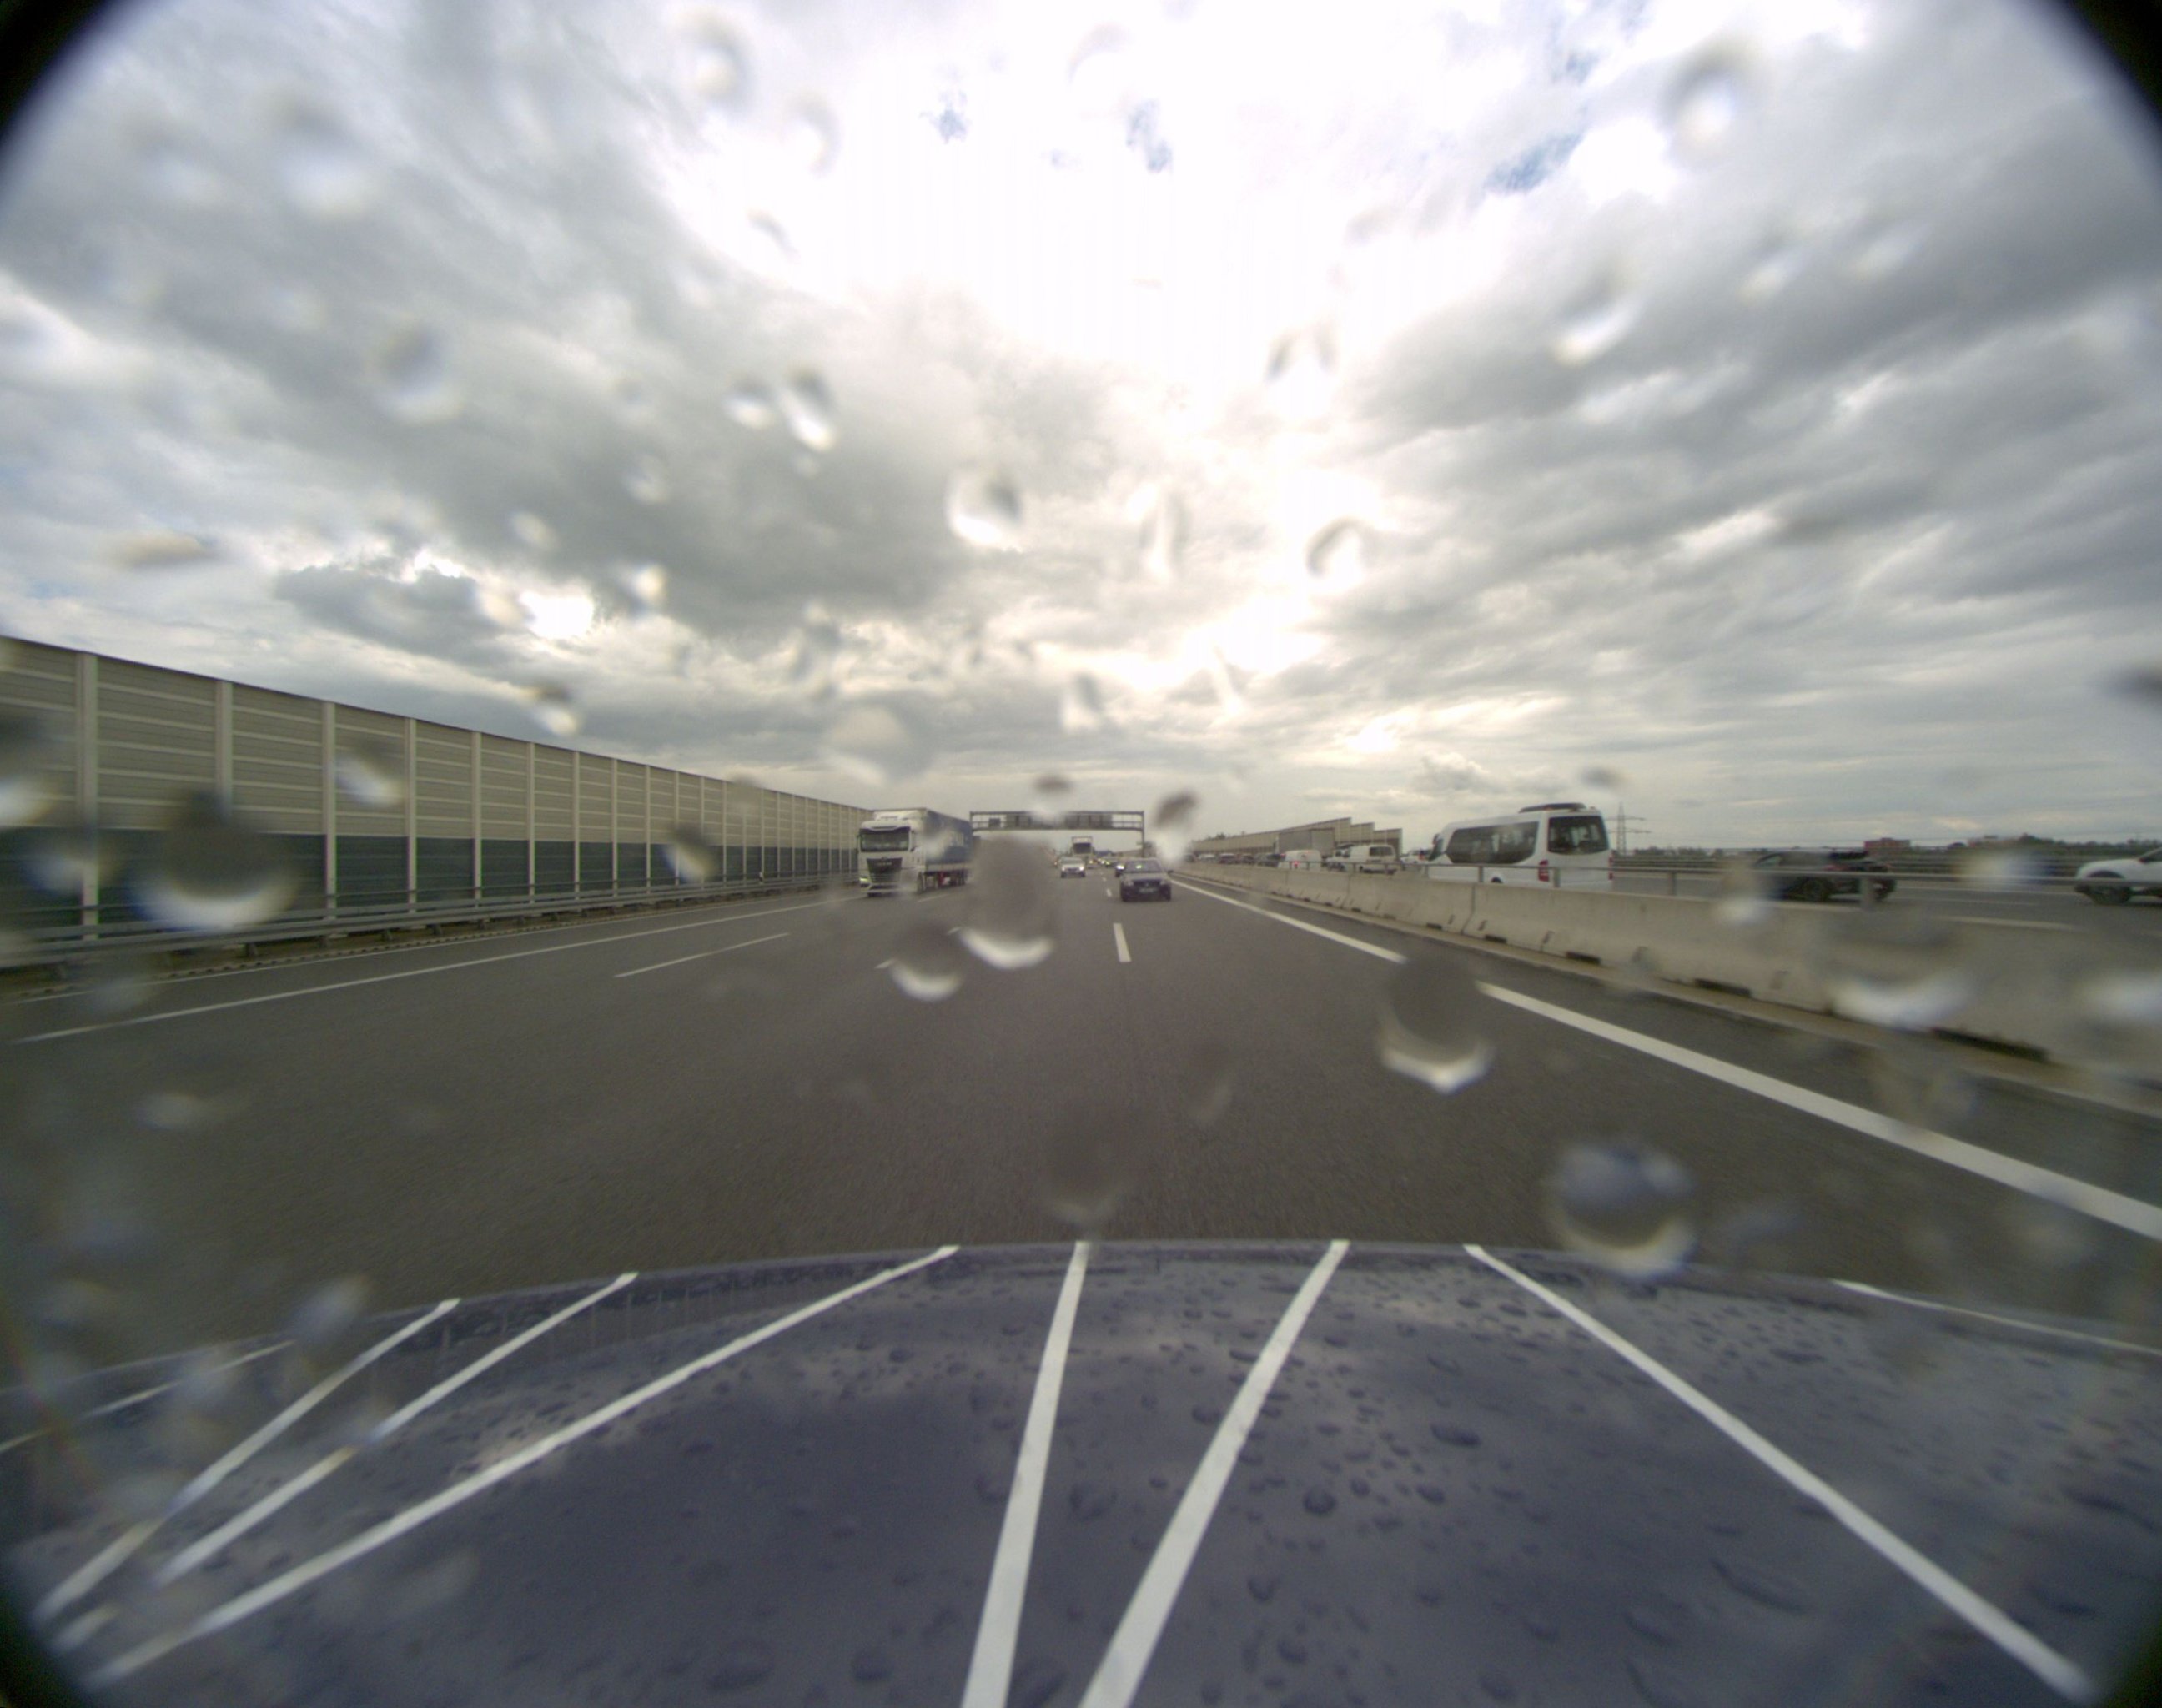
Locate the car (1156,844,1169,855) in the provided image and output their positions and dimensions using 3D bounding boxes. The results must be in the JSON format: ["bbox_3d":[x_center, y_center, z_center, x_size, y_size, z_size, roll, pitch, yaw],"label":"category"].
[{"bbox_3d":[18.838,-1.034,175.656,2.389,2.535,7.087,-1,0,1],"label":"car"}]

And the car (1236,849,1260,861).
[{"bbox_3d":[22.618,0.146,103.014,2.065,1.526,5.470,-1,0,1],"label":"car"}]

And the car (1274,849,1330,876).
[{"bbox_3d":[13.772,0.485,47.684,2.065,1.526,5.470,-1,0,1],"label":"car"}]

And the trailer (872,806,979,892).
[{"bbox_3d":[-8.395,-0.217,43.438,2.768,4.008,14.454,-1,0,1],"label":"trailer"}]

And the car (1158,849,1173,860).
[{"bbox_3d":[14.854,0.145,133.960,2.065,1.869,4.997,-1,0,1],"label":"car"}]

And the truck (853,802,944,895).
[{"bbox_3d":[-8.567,-0.229,36.362,2.751,4.011,5.726,-1,0,1],"label":"truck"}]

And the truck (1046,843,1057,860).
[{"bbox_3d":[-7.553,-0.503,191.532,2.600,4.087,11.369,-1,0,-3],"label":"truck"}]

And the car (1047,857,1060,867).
[{"bbox_3d":[-3.943,1.182,110.178,1.698,1.395,4.000,-1,0,1],"label":"car"}]

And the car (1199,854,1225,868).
[{"bbox_3d":[14.751,0.752,85.758,2.065,1.526,5.470,-1,0,1],"label":"car"}]

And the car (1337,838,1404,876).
[{"bbox_3d":[17.988,0.167,47.575,2.065,2.223,5.894,-1,0,1],"label":"car"}]

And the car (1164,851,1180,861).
[{"bbox_3d":[14.507,0.366,121.173,2.065,1.525,4.997,-1,0,1],"label":"car"}]

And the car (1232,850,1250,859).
[{"bbox_3d":[27.110,0.051,128.856,2.065,1.526,5.470,-1,0,1],"label":"car"}]

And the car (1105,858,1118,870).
[{"bbox_3d":[3.901,1.239,97.408,1.498,1.395,4.000,-1,0,1],"label":"car"}]

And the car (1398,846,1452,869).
[{"bbox_3d":[25.687,0.230,56.932,2.065,1.636,4.519,-1,0,1],"label":"car"}]

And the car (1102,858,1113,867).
[{"bbox_3d":[4.158,1.347,118.847,1.498,1.395,4.000,-1,0,-1],"label":"car"}]

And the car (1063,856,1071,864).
[{"bbox_3d":[-2.765,1.161,151.046,1.498,1.395,4.000,-1,0,-1],"label":"car"}]

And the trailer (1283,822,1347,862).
[{"bbox_3d":[25.835,-1.195,84.895,2.939,4.008,14.454,-1,0,1],"label":"trailer"}]

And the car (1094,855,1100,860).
[{"bbox_3d":[4.506,0.989,209.639,1.698,1.395,4.000,-1,0,1],"label":"car"}]

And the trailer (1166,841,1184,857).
[{"bbox_3d":[25.690,-1.309,208.753,2.768,4.008,14.451,-1,0,-1],"label":"trailer"}]

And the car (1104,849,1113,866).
[{"bbox_3d":[5.276,0.643,144.879,1.645,3.041,4.589,-1,0,2],"label":"car"}]

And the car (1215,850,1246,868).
[{"bbox_3d":[14.299,0.470,73.056,2.065,1.636,5.380,-1,0,1],"label":"car"}]

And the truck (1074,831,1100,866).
[{"bbox_3d":[0.763,-0.613,95.760,2.913,4.146,5.193,-3,0,2],"label":"truck"}]

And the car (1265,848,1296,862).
[{"bbox_3d":[22.138,0.096,84.606,2.065,1.526,5.470,-1,0,1],"label":"car"}]

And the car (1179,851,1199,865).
[{"bbox_3d":[14.822,0.547,104.482,2.065,1.869,6.328,-1,0,1],"label":"car"}]

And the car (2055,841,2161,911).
[{"bbox_3d":[24.090,0.479,15.906,1.727,1.456,4.519,-2,1,3],"label":"car"}]

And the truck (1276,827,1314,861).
[{"bbox_3d":[26.013,-1.193,92.496,2.979,4.011,5.726,-1,0,1],"label":"truck"}]

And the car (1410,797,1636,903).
[{"bbox_3d":[13.621,-0.033,24.604,2.236,2.733,9.166,-1,-1,2],"label":"car"}]

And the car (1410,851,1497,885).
[{"bbox_3d":[18.027,0.640,37.015,2.065,1.526,4.519,-1,0,1],"label":"car"}]

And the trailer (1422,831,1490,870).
[{"bbox_3d":[25.549,-0.215,51.987,2.205,2.469,5.228,-1,0,2],"label":"trailer"}]

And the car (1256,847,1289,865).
[{"bbox_3d":[18.187,0.198,72.410,2.065,1.636,4.519,-1,0,1],"label":"car"}]

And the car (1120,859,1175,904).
[{"bbox_3d":[2.210,0.879,25.960,1.578,1.395,4.000,-1,0,1],"label":"car"}]

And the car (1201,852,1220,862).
[{"bbox_3d":[18.624,0.439,109.127,2.065,1.408,4.523,-1,0,1],"label":"car"}]

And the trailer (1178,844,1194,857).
[{"bbox_3d":[33.038,-1.012,238.771,2.943,4.008,13.859,-1,0,-1],"label":"trailer"}]

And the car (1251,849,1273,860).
[{"bbox_3d":[26.483,0.012,111.204,2.065,1.526,5.470,-1,0,1],"label":"car"}]

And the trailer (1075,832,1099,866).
[{"bbox_3d":[0.901,-0.592,102.684,2.925,4.187,13.198,-2,0,1],"label":"trailer"}]

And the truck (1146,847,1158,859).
[{"bbox_3d":[22.461,-0.221,241.765,2.703,3.506,9.996,-2,0,0],"label":"truck"}]

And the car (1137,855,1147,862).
[{"bbox_3d":[14.649,1.031,182.517,2.065,1.482,4.997,-1,0,1],"label":"car"}]

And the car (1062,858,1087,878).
[{"bbox_3d":[-0.430,1.039,56.783,1.732,1.395,4.000,-1,0,1],"label":"car"}]

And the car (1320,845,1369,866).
[{"bbox_3d":[21.608,0.084,62.599,2.065,1.636,6.120,-1,0,1],"label":"car"}]

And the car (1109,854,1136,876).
[{"bbox_3d":[2.915,0.778,53.761,1.776,1.451,4.481,-1,0,2],"label":"car"}]

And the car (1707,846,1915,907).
[{"bbox_3d":[20.496,0.552,21.665,1.727,1.456,4.519,-2,1,3],"label":"car"}]
